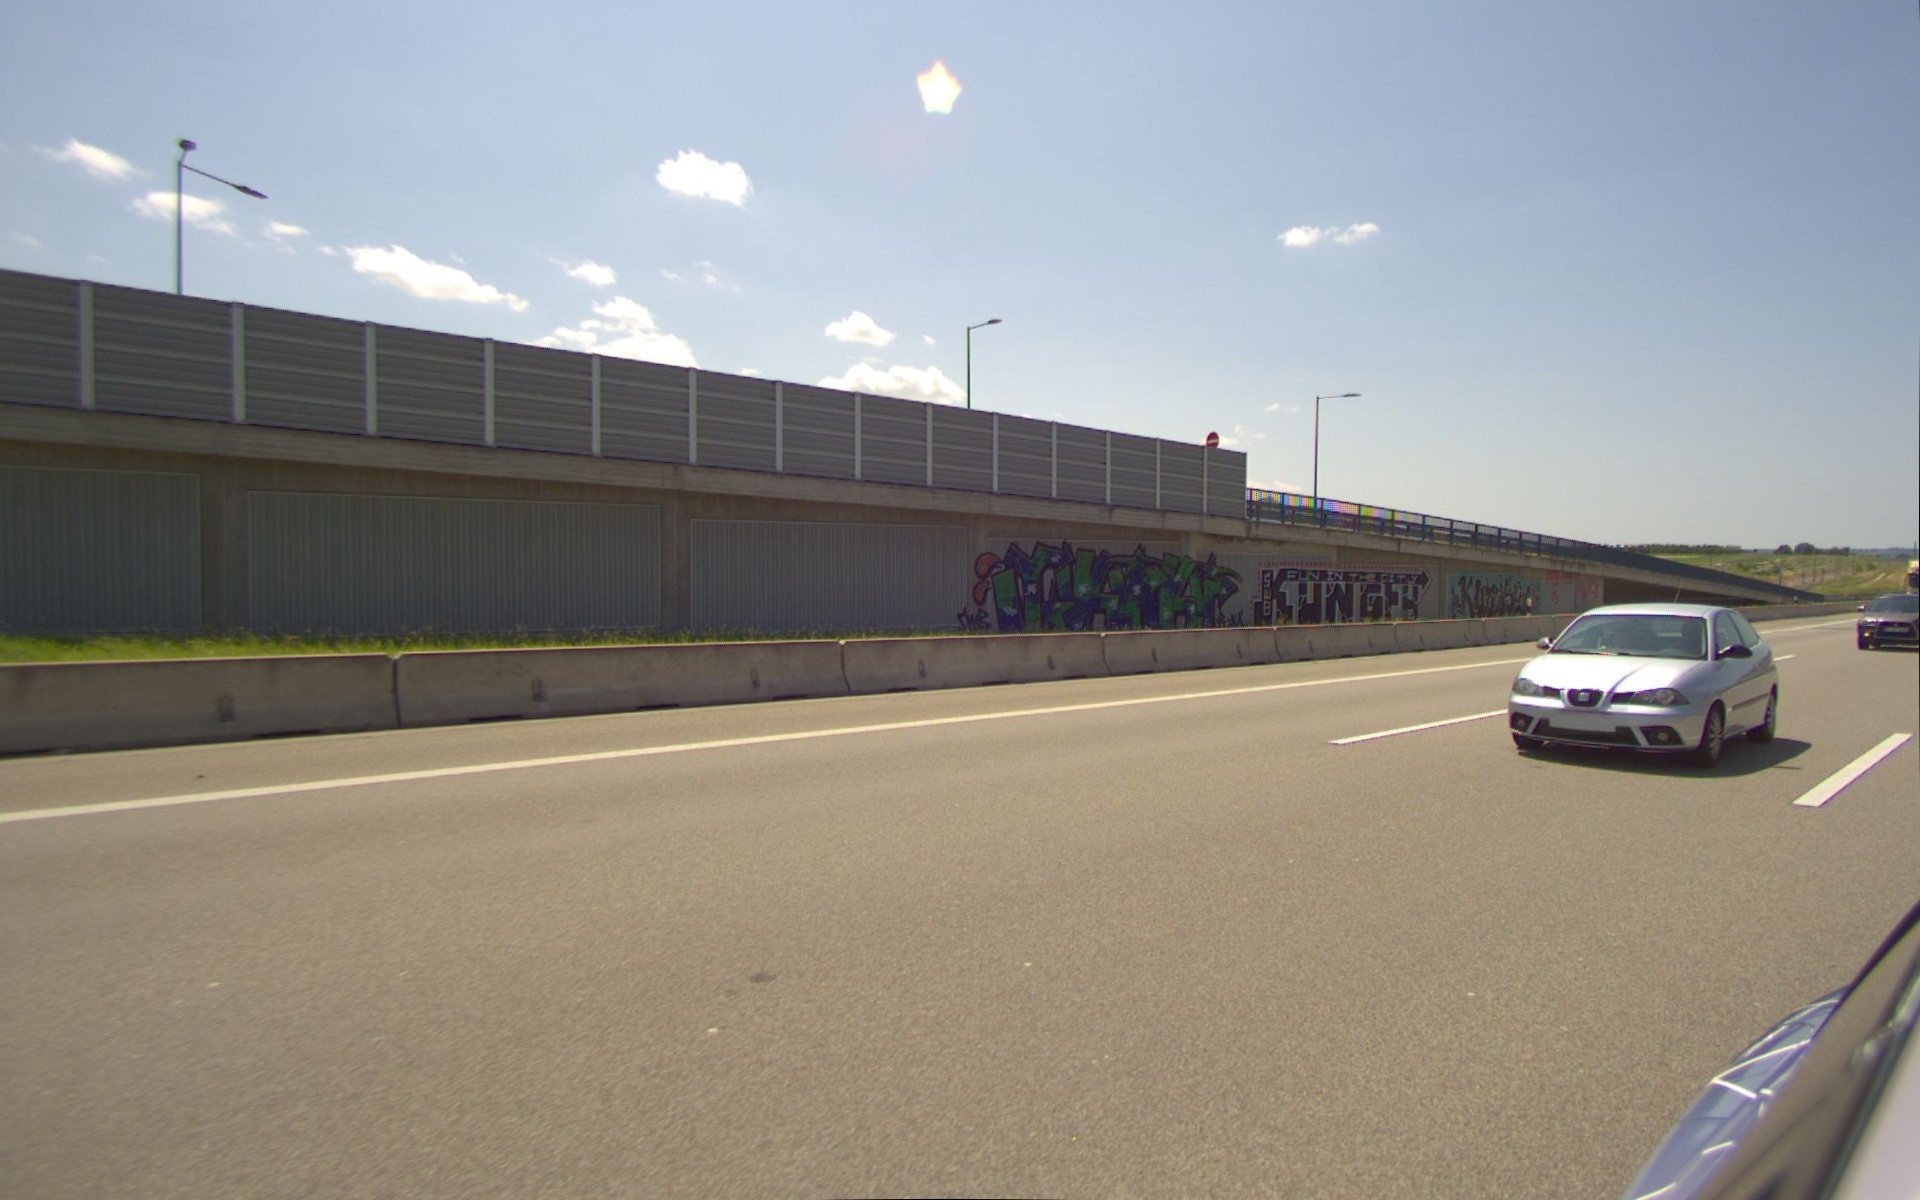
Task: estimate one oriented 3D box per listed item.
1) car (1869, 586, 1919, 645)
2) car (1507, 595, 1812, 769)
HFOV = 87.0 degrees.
[{"bbox_3d":[27.599,0.400,29.086,3.930,1.588,1.749,-1,1,-41],"label":"car"},{"bbox_3d":[7.201,0.668,10.275,3.930,1.407,1.633,-1,1,-41],"label":"car"}]
